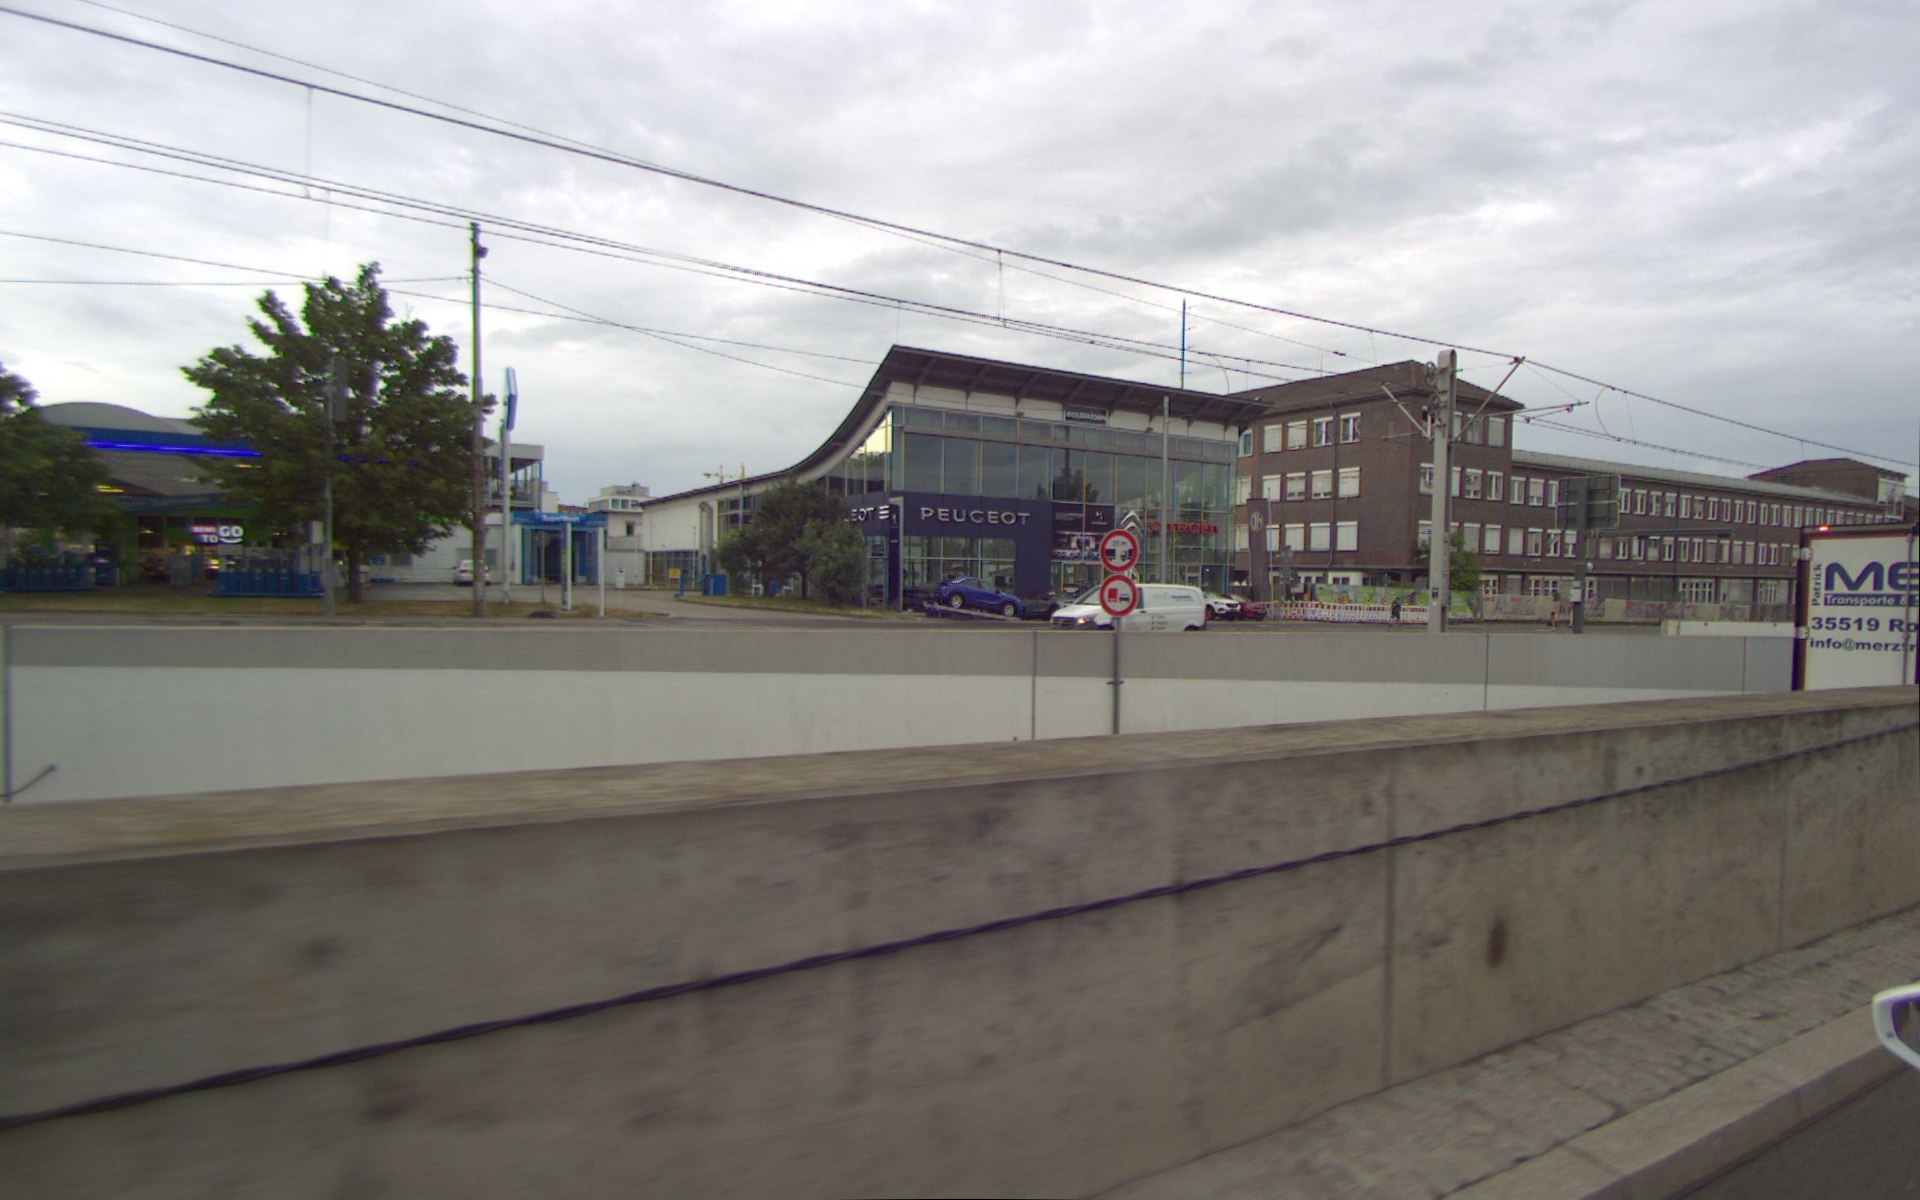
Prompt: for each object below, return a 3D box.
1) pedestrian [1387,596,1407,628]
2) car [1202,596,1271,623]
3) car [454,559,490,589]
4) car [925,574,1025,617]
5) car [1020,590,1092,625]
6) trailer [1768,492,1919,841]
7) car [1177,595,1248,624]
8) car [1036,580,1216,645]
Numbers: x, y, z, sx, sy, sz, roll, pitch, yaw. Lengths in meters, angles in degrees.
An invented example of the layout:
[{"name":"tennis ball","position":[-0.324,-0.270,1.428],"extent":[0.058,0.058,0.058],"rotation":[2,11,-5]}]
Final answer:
[{"name":"pedestrian","position":[24.309,0.665,55.885],"extent":[0.830,1.774,0.612],"rotation":[1,1,-30]},{"name":"car","position":[15.002,0.517,54.602],"extent":[1.601,1.400,3.460],"rotation":[1,0,-32]},{"name":"car","position":[-29.082,-1.567,59.835],"extent":[1.834,1.662,3.971],"rotation":[1,1,-28]},{"name":"car","position":[0.661,-0.196,44.774],"extent":[4.011,1.630,1.757],"rotation":[4,0,-23]},{"name":"car","position":[4.492,0.391,47.487],"extent":[1.557,1.421,3.484],"rotation":[0,-4,-33]},{"name":"trailer","position":[17.388,0.928,15.818],"extent":[13.026,4.309,2.749],"rotation":[1,0,-30]},{"name":"car","position":[13.293,0.474,53.108],"extent":[1.729,1.416,3.464],"rotation":[1,0,-29]},{"name":"car","position":[4.792,0.354,28.748],"extent":[4.978,1.718,1.990],"rotation":[1,1,-31]}]
